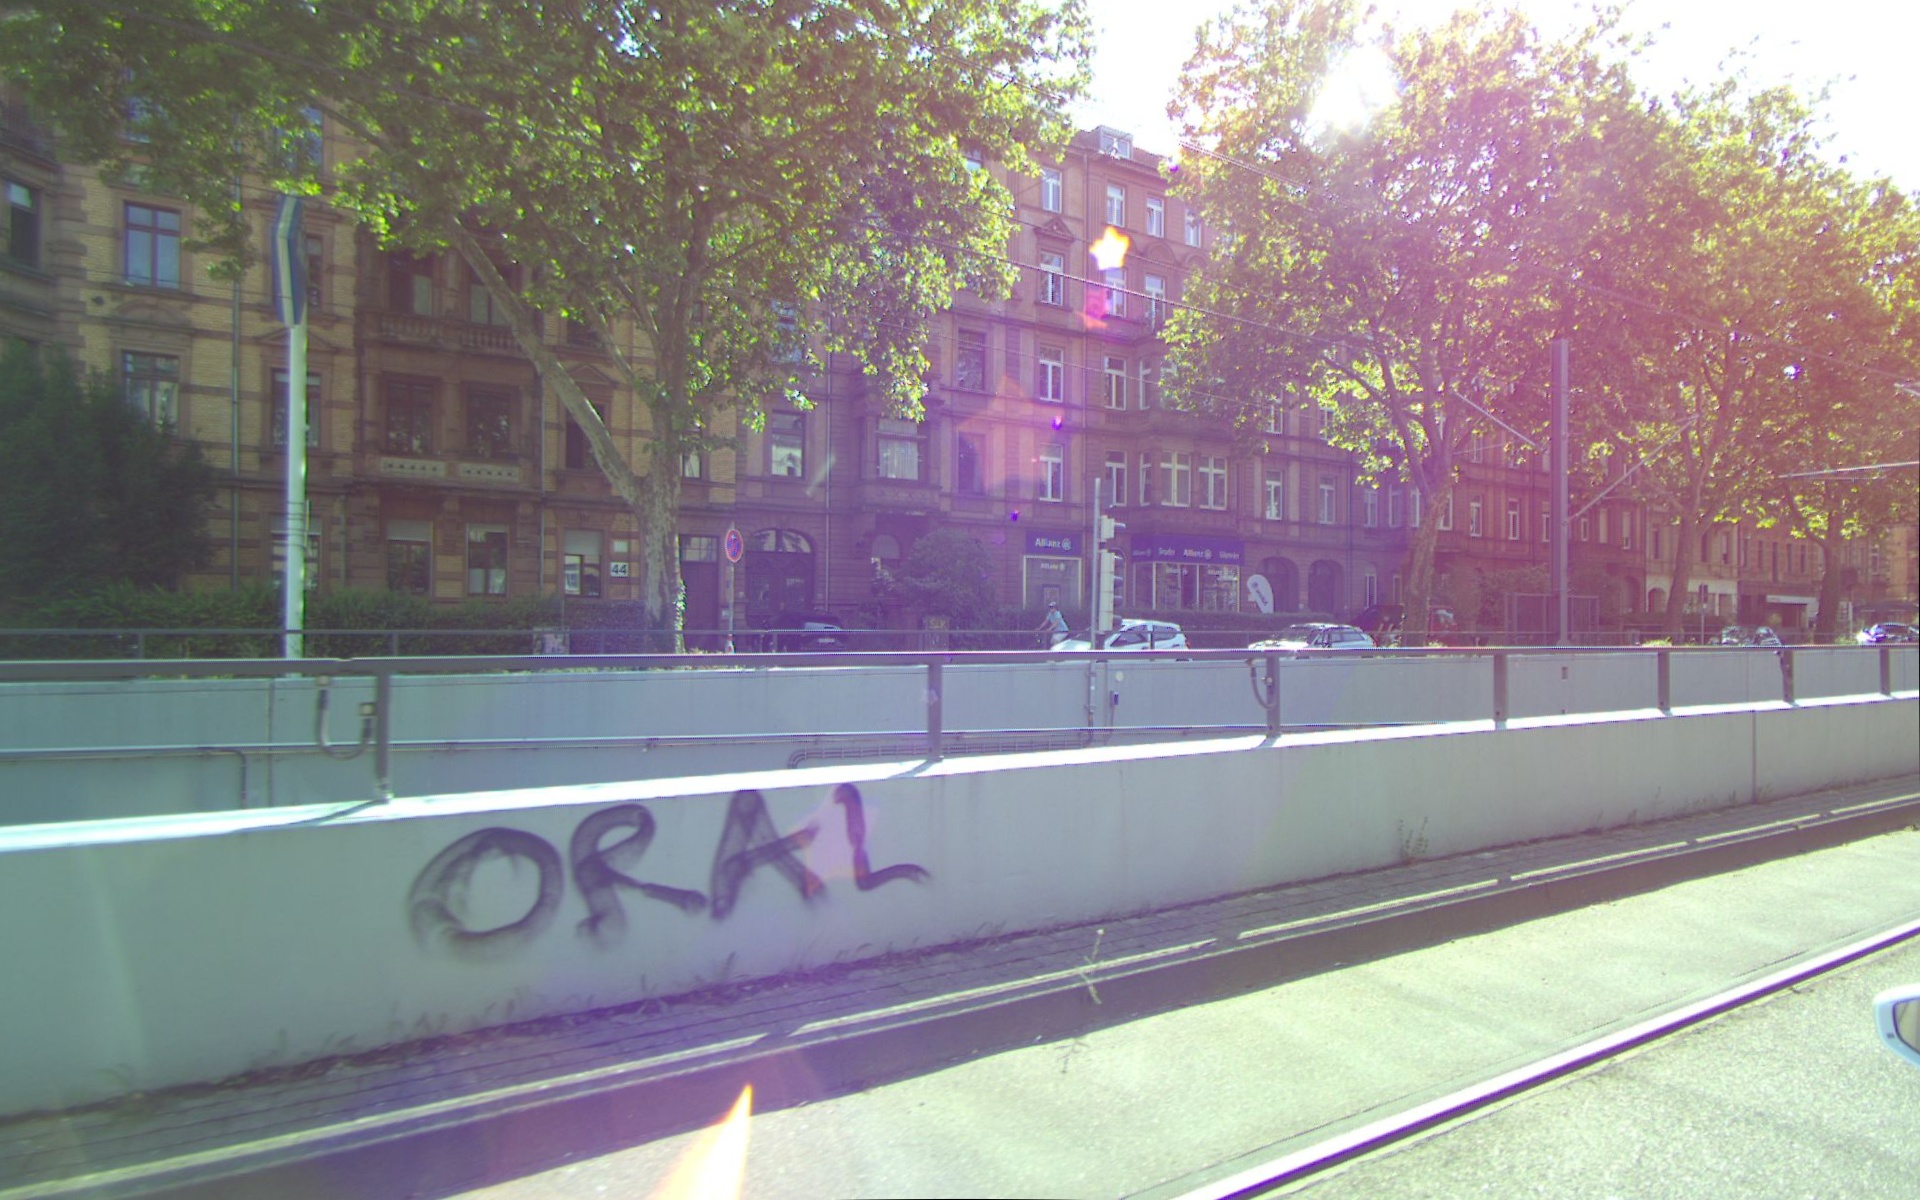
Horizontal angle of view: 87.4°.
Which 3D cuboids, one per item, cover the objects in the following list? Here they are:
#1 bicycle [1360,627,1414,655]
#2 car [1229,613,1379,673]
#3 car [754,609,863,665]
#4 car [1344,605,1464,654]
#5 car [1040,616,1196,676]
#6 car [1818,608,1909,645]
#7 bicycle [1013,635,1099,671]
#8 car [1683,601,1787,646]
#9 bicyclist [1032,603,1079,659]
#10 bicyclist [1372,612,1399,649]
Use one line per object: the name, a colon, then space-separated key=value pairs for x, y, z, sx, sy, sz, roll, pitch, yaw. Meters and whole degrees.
bicycle: x=14.659 y=1.414 z=34.440 sx=2.123 sy=0.925 sz=0.532 roll=1 pitch=-1 yaw=-30
car: x=9.266 y=1.159 z=27.006 sx=3.955 sy=1.501 sz=1.635 roll=1 pitch=-3 yaw=-31
car: x=-4.460 y=1.030 z=29.170 sx=1.975 sy=1.503 sz=3.972 roll=1 pitch=-1 yaw=-27
car: x=18.743 y=1.215 z=42.586 sx=1.977 sy=1.944 sz=4.379 roll=1 pitch=-1 yaw=-31
car: x=3.746 y=1.081 z=23.769 sx=3.447 sy=1.320 sz=1.492 roll=1 pitch=-3 yaw=-28
car: x=43.248 y=1.268 z=48.064 sx=3.950 sy=1.658 sz=1.986 roll=1 pitch=-3 yaw=-28
bicycle: x=2.566 y=1.408 z=26.810 sx=2.340 sy=0.925 sz=0.668 roll=1 pitch=-1 yaw=-30
car: x=30.826 y=0.927 z=39.963 sx=3.677 sy=1.713 sz=1.714 roll=0 pitch=-2 yaw=-24
bicyclist: x=2.539 y=0.823 z=26.794 sx=1.032 sy=1.475 sz=0.685 roll=1 pitch=-1 yaw=-30
bicyclist: x=14.560 y=1.034 z=34.379 sx=0.715 sy=1.248 sz=0.532 roll=1 pitch=-1 yaw=-30
